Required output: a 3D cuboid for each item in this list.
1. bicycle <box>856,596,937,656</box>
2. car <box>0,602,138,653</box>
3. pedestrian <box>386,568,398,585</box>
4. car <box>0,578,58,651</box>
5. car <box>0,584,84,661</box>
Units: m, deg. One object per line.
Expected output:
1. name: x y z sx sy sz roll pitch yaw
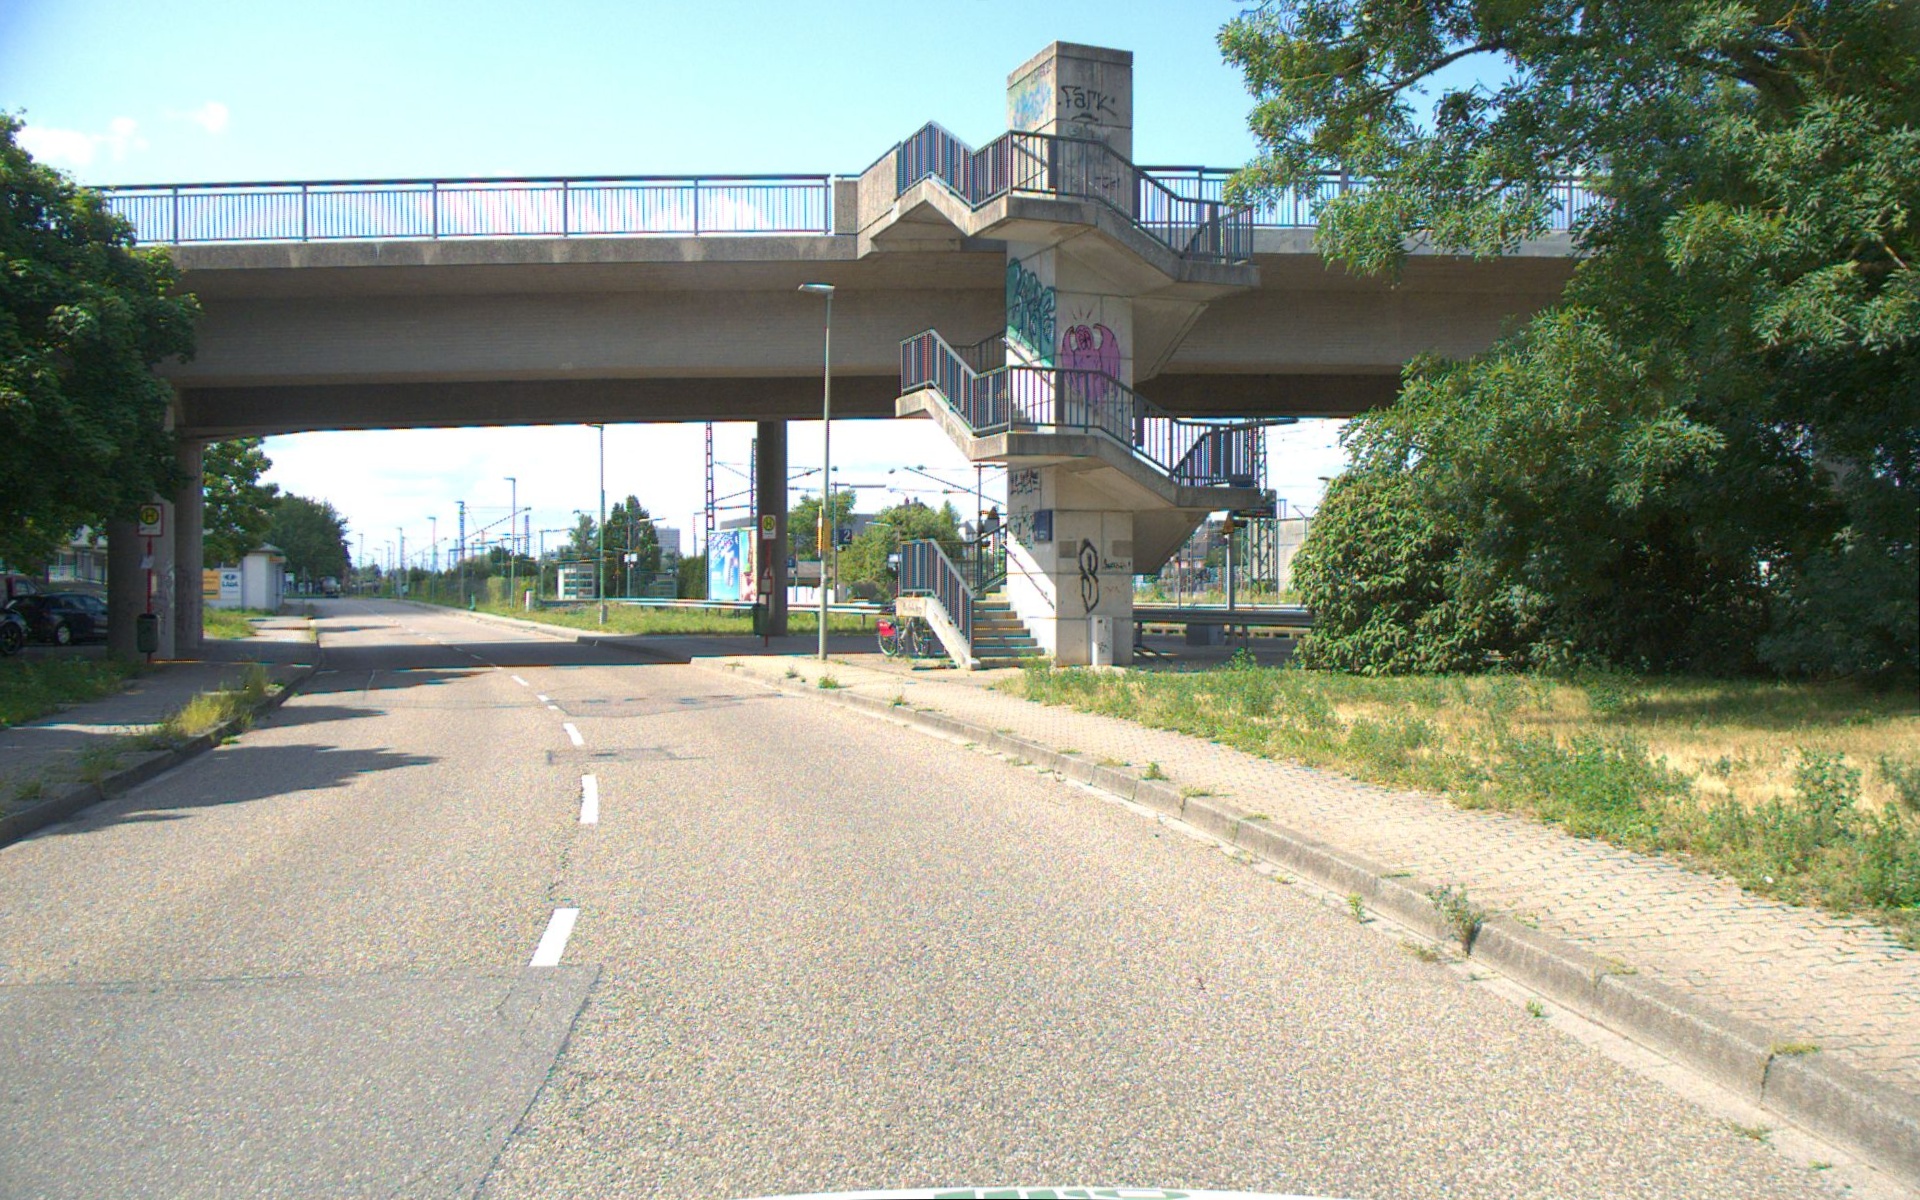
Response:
1. bicycle: -1.272 0.500 32.636 0.636 1.127 2.169 -1 1 -31
2. car: -25.016 0.751 46.369 1.652 1.307 3.453 -1 0 16
3. pedestrian: -70.071 -2.886 204.067 0.832 2.049 1.058 1 0 28
4. car: -27.927 0.425 46.876 1.900 2.049 3.961 -1 0 16
5. car: -21.770 0.504 36.954 1.643 1.658 4.577 -1 1 5
